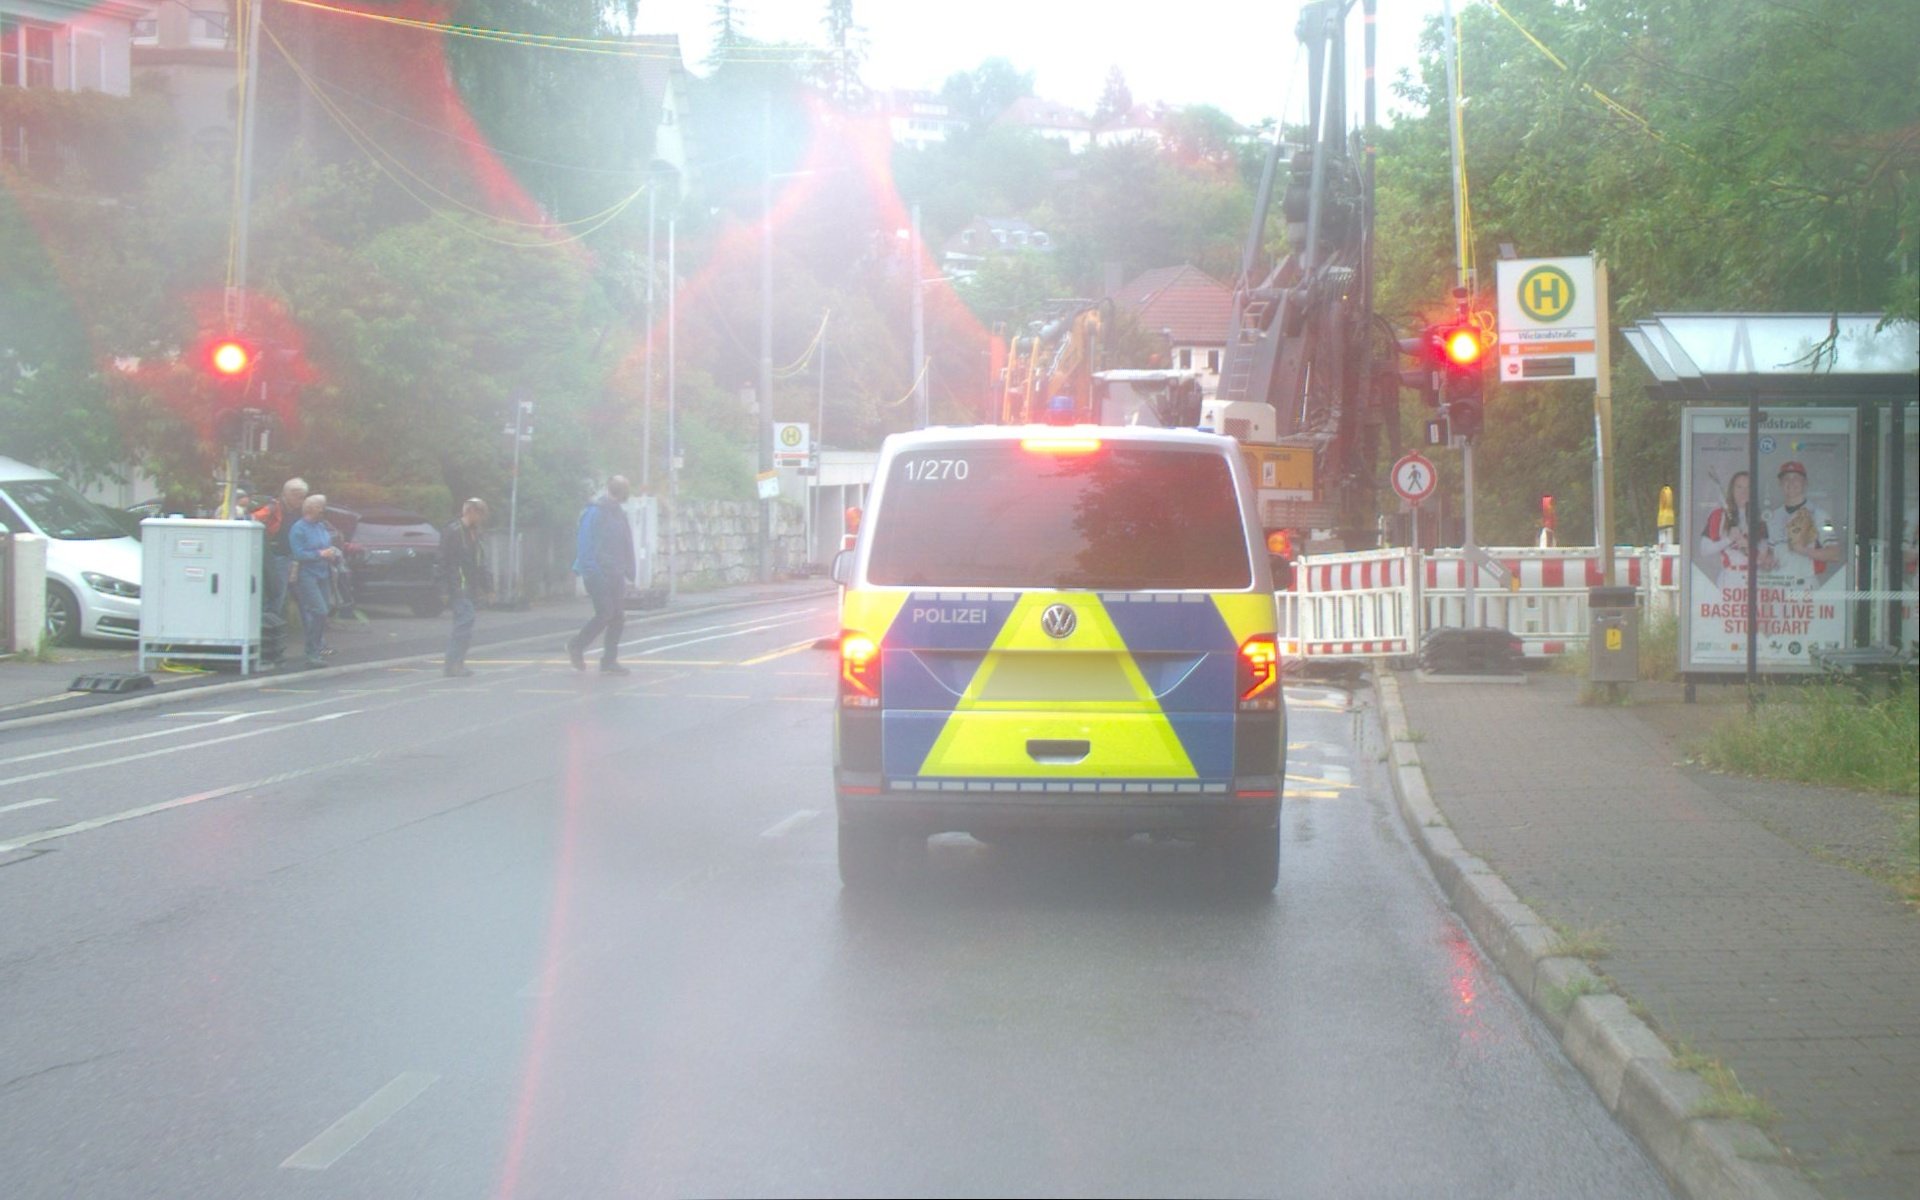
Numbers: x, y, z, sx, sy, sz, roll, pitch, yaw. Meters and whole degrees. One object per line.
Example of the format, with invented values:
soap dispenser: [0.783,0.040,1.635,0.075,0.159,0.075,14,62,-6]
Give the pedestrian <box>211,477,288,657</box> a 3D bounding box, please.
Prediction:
pedestrian: [-6.647,-0.306,32.191,0.549,1.662,0.414,2,-1,4]

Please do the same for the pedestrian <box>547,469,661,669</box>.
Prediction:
pedestrian: [-3.262,-0.274,31.567,0.890,1.781,0.828,2,-1,1]

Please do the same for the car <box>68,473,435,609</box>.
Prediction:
car: [-8.679,-0.715,42.216,3.989,1.481,1.759,2,-1,13]

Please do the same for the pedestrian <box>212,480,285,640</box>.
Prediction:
pedestrian: [-6.786,-0.379,32.807,0.525,1.502,0.429,2,-1,4]

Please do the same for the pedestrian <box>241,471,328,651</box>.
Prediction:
pedestrian: [-6.558,-0.376,33.389,0.626,1.709,0.593,2,-1,4]

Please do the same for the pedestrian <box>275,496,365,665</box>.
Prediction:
pedestrian: [-5.876,-0.177,31.563,0.626,1.516,0.593,2,-1,4]

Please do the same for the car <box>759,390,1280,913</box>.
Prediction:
car: [0.414,0.128,15.519,1.994,2.006,4.401,-1,2,5]

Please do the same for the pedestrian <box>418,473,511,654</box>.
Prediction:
pedestrian: [-4.489,-0.326,31.191,0.686,1.598,0.606,2,-1,1]

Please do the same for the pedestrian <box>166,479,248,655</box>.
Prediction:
pedestrian: [-6.903,-0.298,31.513,0.563,1.577,0.468,2,-1,4]

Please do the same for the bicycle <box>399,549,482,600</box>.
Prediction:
bicycle: [-7.135,-0.351,47.243,1.054,0.660,0.320,2,-1,13]

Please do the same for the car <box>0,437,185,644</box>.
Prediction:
car: [-10.108,-0.633,34.822,3.989,2.007,1.829,1,1,14]

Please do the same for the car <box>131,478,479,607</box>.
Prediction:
car: [-8.431,-0.731,44.356,3.989,1.481,1.759,2,-1,13]
